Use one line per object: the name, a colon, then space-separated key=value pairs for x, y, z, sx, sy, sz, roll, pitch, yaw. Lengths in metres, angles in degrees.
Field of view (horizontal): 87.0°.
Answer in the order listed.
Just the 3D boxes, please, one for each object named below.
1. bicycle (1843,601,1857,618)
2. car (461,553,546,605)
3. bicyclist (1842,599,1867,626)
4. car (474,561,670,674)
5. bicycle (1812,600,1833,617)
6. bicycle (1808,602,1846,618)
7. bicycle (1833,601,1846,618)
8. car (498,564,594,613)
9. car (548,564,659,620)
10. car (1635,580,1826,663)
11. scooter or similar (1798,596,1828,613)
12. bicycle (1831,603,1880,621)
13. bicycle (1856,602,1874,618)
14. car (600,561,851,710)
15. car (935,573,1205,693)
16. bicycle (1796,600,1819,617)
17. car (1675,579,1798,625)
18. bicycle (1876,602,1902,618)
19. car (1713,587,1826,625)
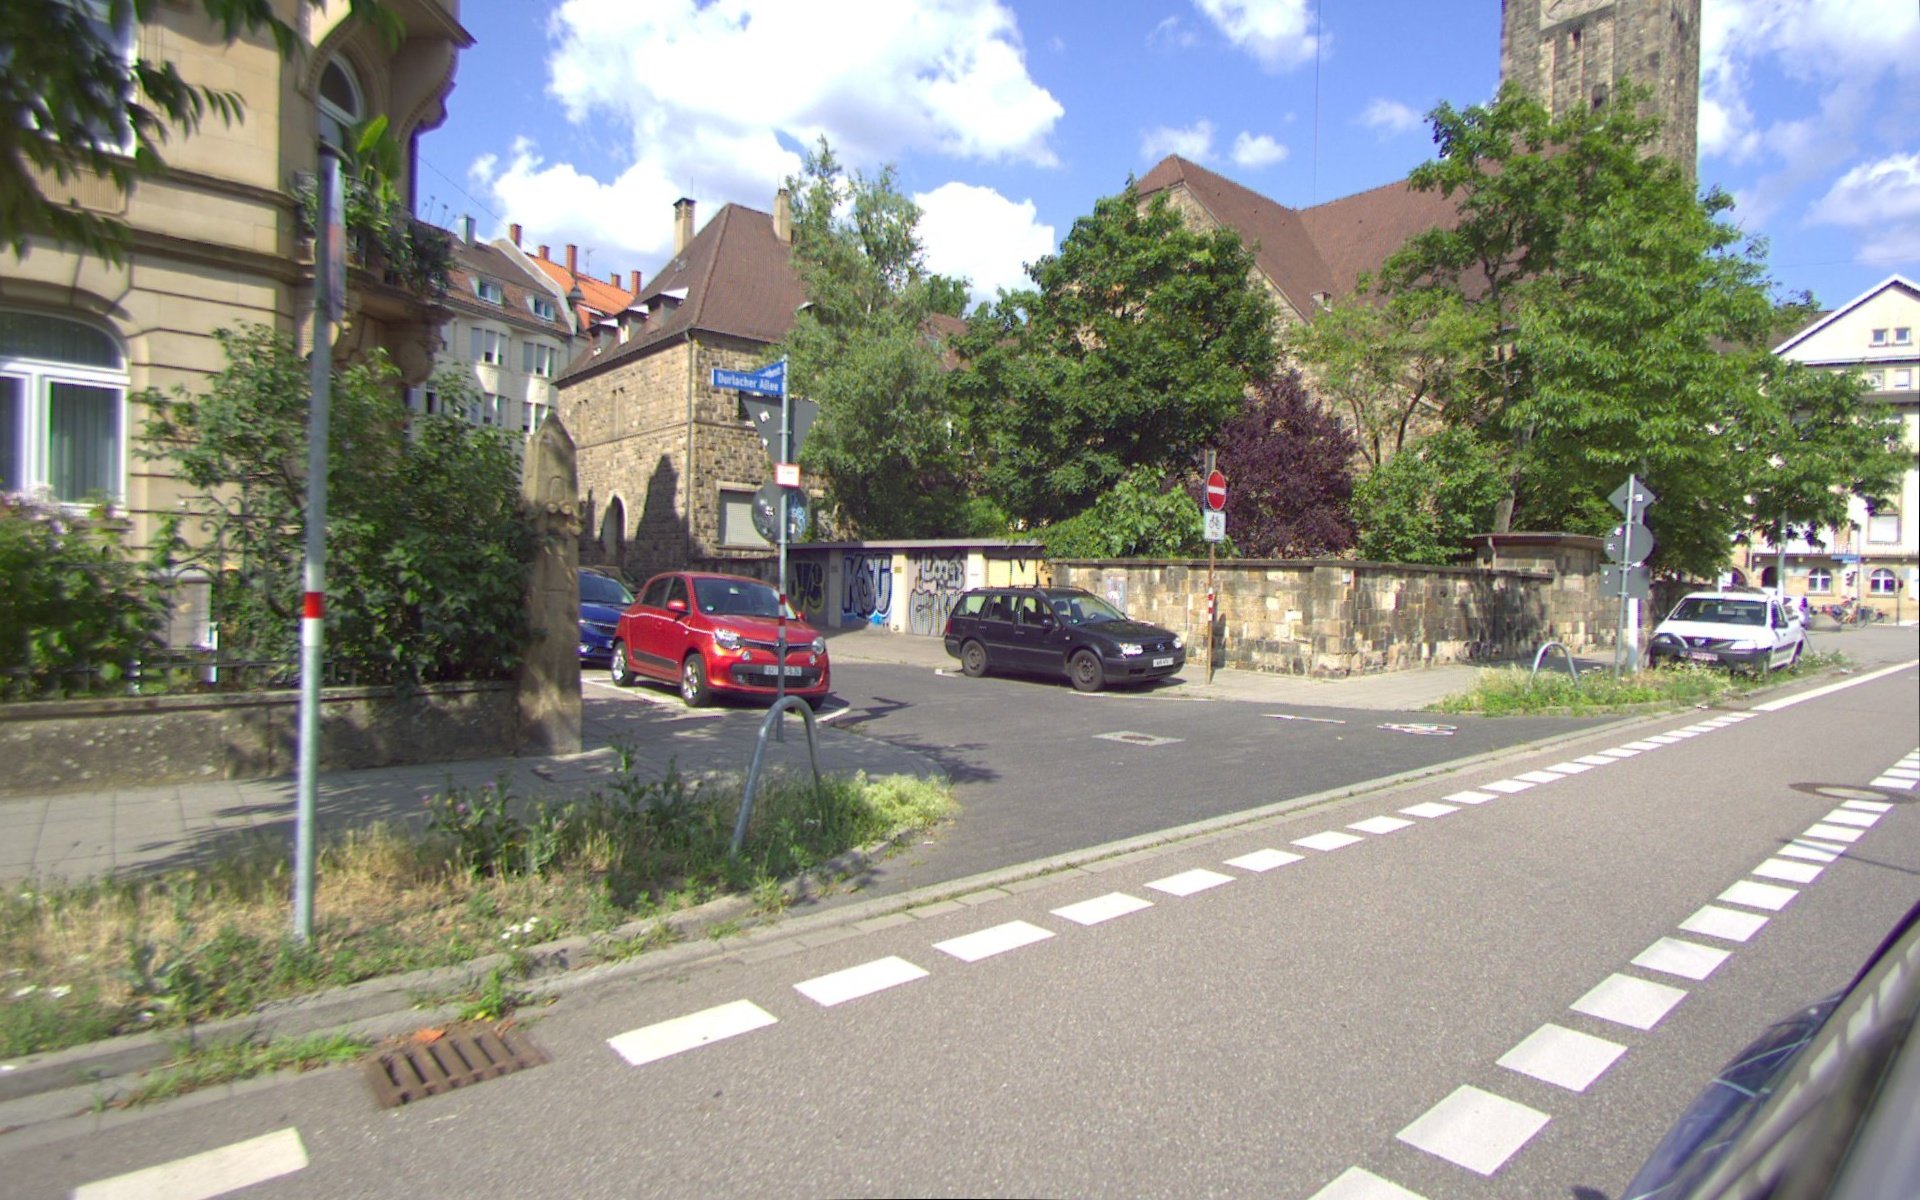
bicycle: x=60.897 y=0.644 z=69.255 sx=0.537 sy=1.031 sz=1.903 roll=2 pitch=4 yaw=38
car: x=-17.784 y=-0.853 z=39.338 sx=1.793 sy=1.896 sz=4.259 roll=-3 pitch=3 yaw=-41
bicyclist: x=52.717 y=0.721 z=59.638 sx=0.911 sy=1.523 sz=0.647 roll=2 pitch=-2 yaw=21
car: x=-6.588 y=0.192 z=16.913 sx=1.799 sy=1.637 sz=4.265 roll=0 pitch=1 yaw=-39
bicycle: x=60.334 y=0.600 z=70.784 sx=0.534 sy=1.030 sz=1.914 roll=1 pitch=3 yaw=23
bicycle: x=58.739 y=0.675 z=68.554 sx=1.896 sy=1.031 sz=0.539 roll=1 pitch=3 yaw=9
bicycle: x=60.324 y=0.636 z=69.423 sx=0.537 sy=1.030 sz=1.903 roll=2 pitch=4 yaw=38
car: x=-14.563 y=-0.471 z=35.505 sx=1.793 sy=1.574 sz=4.259 roll=-3 pitch=3 yaw=-41
car: x=-11.130 y=-0.314 z=31.460 sx=1.793 sy=1.574 sz=4.259 roll=-3 pitch=3 yaw=-41
car: x=14.672 y=0.401 z=19.227 sx=3.768 sy=1.434 sz=1.675 roll=1 pitch=-1 yaw=-32
scooter or similar: x=50.976 y=0.255 z=60.475 sx=1.117 sy=0.989 sz=0.884 roll=2 pitch=0 yaw=20
bicycle: x=52.775 y=0.698 z=59.669 sx=2.099 sy=1.001 sz=0.650 roll=2 pitch=0 yaw=9
bicycle: x=61.407 y=0.665 z=68.659 sx=1.844 sy=1.031 sz=0.602 roll=-2 pitch=4 yaw=-40
car: x=-3.069 y=0.323 z=12.728 sx=1.724 sy=1.575 sz=3.754 roll=0 pitch=1 yaw=-36
car: x=1.628 y=0.404 z=16.198 sx=1.727 sy=1.574 sz=4.259 roll=-3 pitch=3 yaw=-41
bicycle: x=58.757 y=0.565 z=70.185 sx=0.533 sy=1.030 sz=1.917 roll=1 pitch=3 yaw=20
car: x=34.058 y=0.061 z=44.466 sx=1.832 sy=1.846 sz=4.008 roll=1 pitch=1 yaw=-42
bicycle: x=63.441 y=0.672 z=69.119 sx=0.602 sy=1.031 sz=1.865 roll=1 pitch=3 yaw=21
car: x=36.896 y=0.259 z=46.170 sx=1.766 sy=1.566 sz=3.773 roll=1 pitch=1 yaw=-41
